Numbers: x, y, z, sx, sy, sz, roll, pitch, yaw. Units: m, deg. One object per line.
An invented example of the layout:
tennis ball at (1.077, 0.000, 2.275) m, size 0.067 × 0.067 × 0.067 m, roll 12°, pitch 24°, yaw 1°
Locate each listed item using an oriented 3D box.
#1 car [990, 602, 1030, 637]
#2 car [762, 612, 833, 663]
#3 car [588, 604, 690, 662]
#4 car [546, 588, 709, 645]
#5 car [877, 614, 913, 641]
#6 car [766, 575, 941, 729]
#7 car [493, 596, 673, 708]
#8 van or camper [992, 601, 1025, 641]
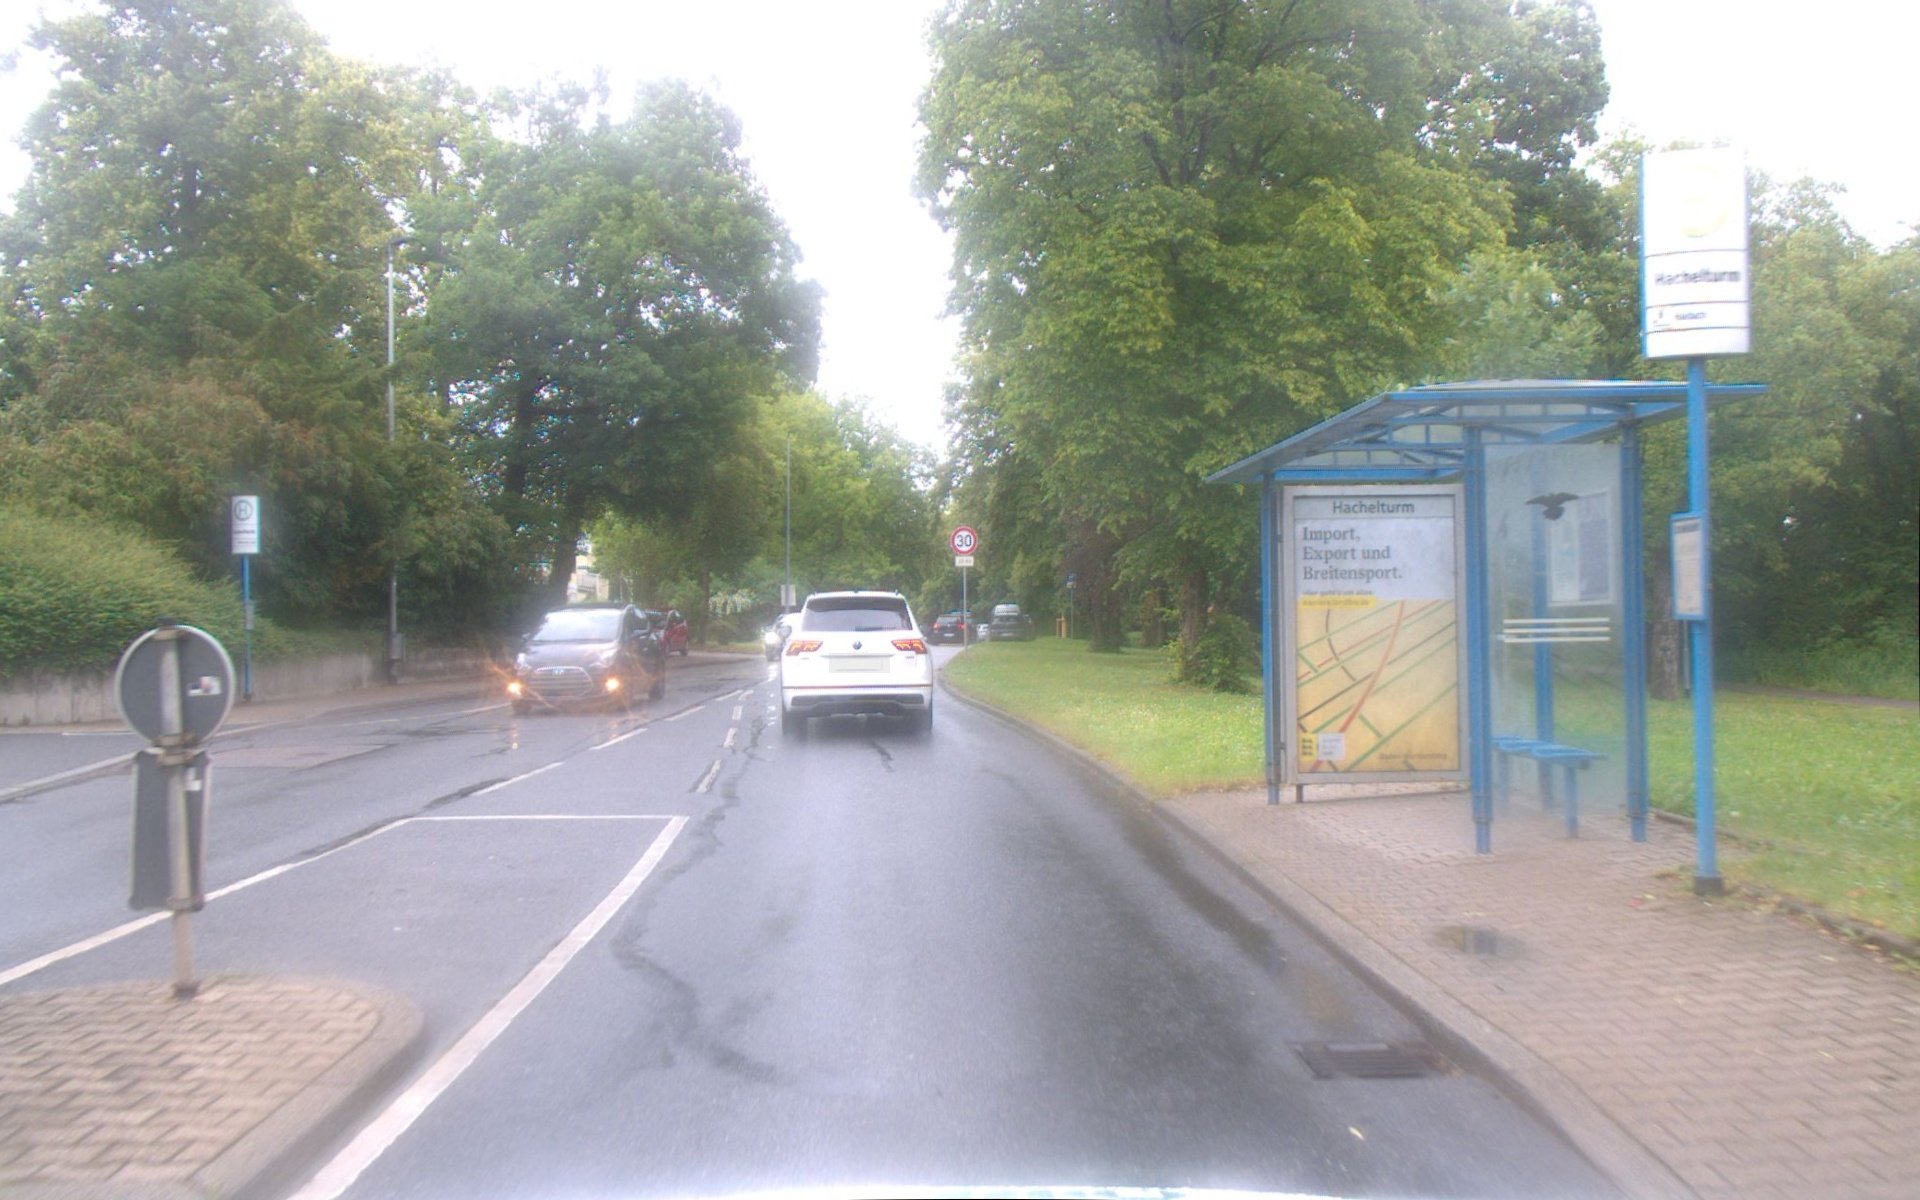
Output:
car at (2.329, 0.921, 76.198) m, size 1.665 × 1.487 × 4.218 m, roll -2°, pitch -1°, yaw 3°
car at (-5.155, 1.174, 52.996) m, size 1.754 × 1.447 × 4.359 m, roll -3°, pitch 0°, yaw 0°
car at (-9.868, 0.983, 51.187) m, size 1.951 × 1.542 × 4.004 m, roll 1°, pitch 2°, yaw 7°
car at (-12.722, 0.638, 63.764) m, size 5.628 × 2.074 × 3.477 m, roll 1°, pitch -1°, yaw -3°
car at (-3.663, 1.543, 93.626) m, size 1.665 × 1.435 × 4.009 m, roll -3°, pitch -1°, yaw 2°
car at (-1.227, 0.598, 20.750) m, size 1.866 × 1.715 × 4.200 m, roll -1°, pitch 0°, yaw 0°
car at (-5.794, 0.752, 25.891) m, size 1.953 × 1.604 × 3.999 m, roll -1°, pitch 0°, yaw -1°
van or camper at (3.394, 1.480, 115.216) m, size 1.973 × 2.628 × 8.438 m, roll 1°, pitch -1°, yaw 4°
